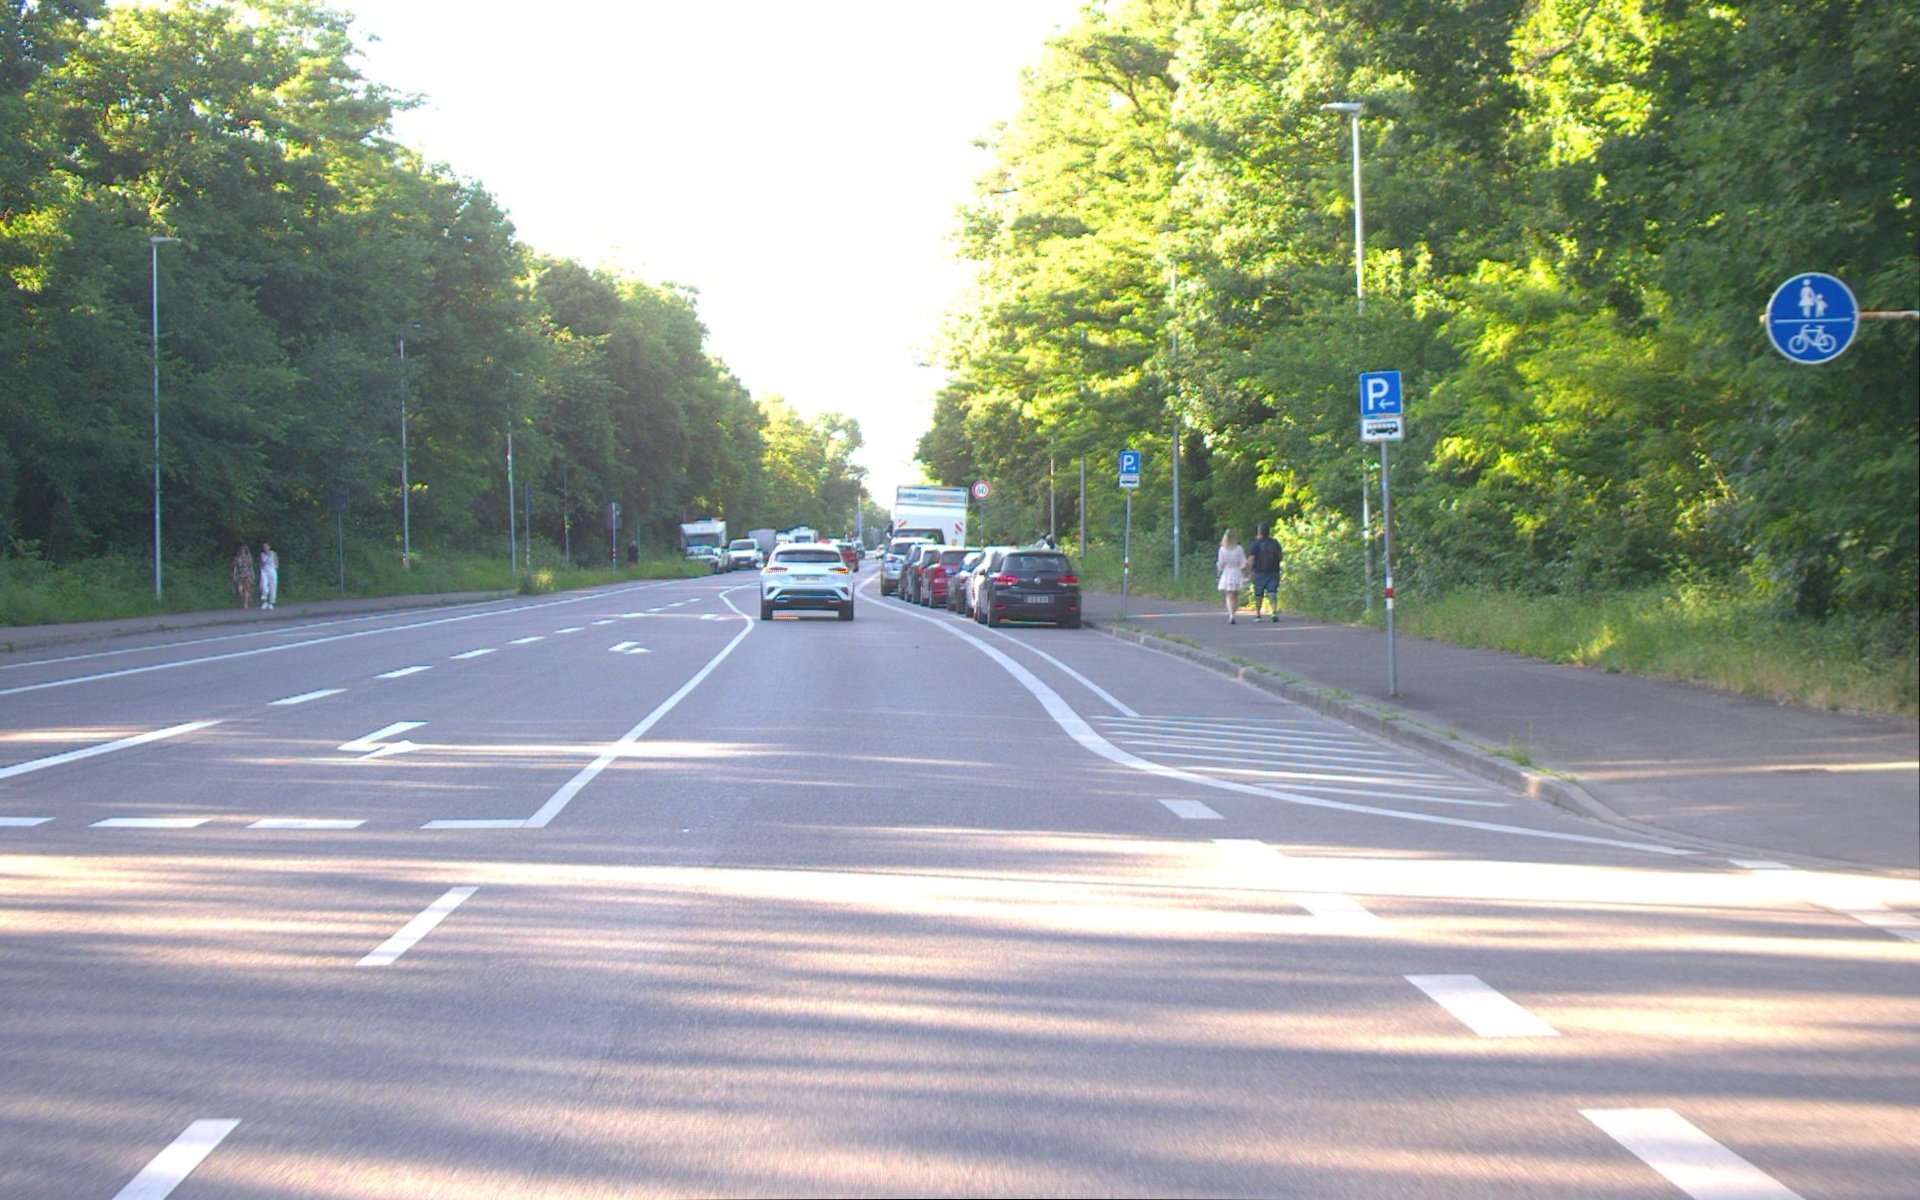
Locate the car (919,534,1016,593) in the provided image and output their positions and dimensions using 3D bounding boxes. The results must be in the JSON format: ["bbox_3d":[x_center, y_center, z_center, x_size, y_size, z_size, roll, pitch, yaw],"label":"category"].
[{"bbox_3d":[0.150,-0.878,80.921,1.993,1.322,4.001,-1,1,-4],"label":"car"}]

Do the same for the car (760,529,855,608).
[{"bbox_3d":[-3.028,-0.640,67.830,1.761,1.454,3.818,1,1,-4],"label":"car"}]

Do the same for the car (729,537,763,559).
[{"bbox_3d":[-13.170,-3.231,211.614,1.993,1.322,4.001,-1,1,-2],"label":"car"}]

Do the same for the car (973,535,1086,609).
[{"bbox_3d":[1.289,-0.548,65.218,1.993,1.322,4.000,-1,1,-1],"label":"car"}]

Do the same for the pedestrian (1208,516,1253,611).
[{"bbox_3d":[4.775,-0.651,60.759,0.698,1.647,0.876,-1,1,-1],"label":"pedestrian"}]

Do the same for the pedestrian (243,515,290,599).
[{"bbox_3d":[-16.745,-1.048,83.009,0.831,2.007,1.269,0,1,1],"label":"pedestrian"}]

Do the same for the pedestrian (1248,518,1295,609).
[{"bbox_3d":[5.515,-0.654,60.852,0.743,1.593,0.798,-1,1,-1],"label":"pedestrian"}]

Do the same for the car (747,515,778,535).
[{"bbox_3d":[-13.471,-5.106,234.638,1.993,1.322,4.001,-1,1,-2],"label":"car"}]

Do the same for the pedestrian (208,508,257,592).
[{"bbox_3d":[-17.594,-1.214,83.119,0.863,2.007,1.269,0,1,1],"label":"pedestrian"}]

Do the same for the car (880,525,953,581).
[{"bbox_3d":[-1.224,-1.343,96.979,1.993,1.550,4.000,-1,1,-1],"label":"car"}]

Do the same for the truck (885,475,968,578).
[{"bbox_3d":[-1.266,-2.657,124.666,2.799,3.558,8.036,1,1,-2],"label":"truck"}]
